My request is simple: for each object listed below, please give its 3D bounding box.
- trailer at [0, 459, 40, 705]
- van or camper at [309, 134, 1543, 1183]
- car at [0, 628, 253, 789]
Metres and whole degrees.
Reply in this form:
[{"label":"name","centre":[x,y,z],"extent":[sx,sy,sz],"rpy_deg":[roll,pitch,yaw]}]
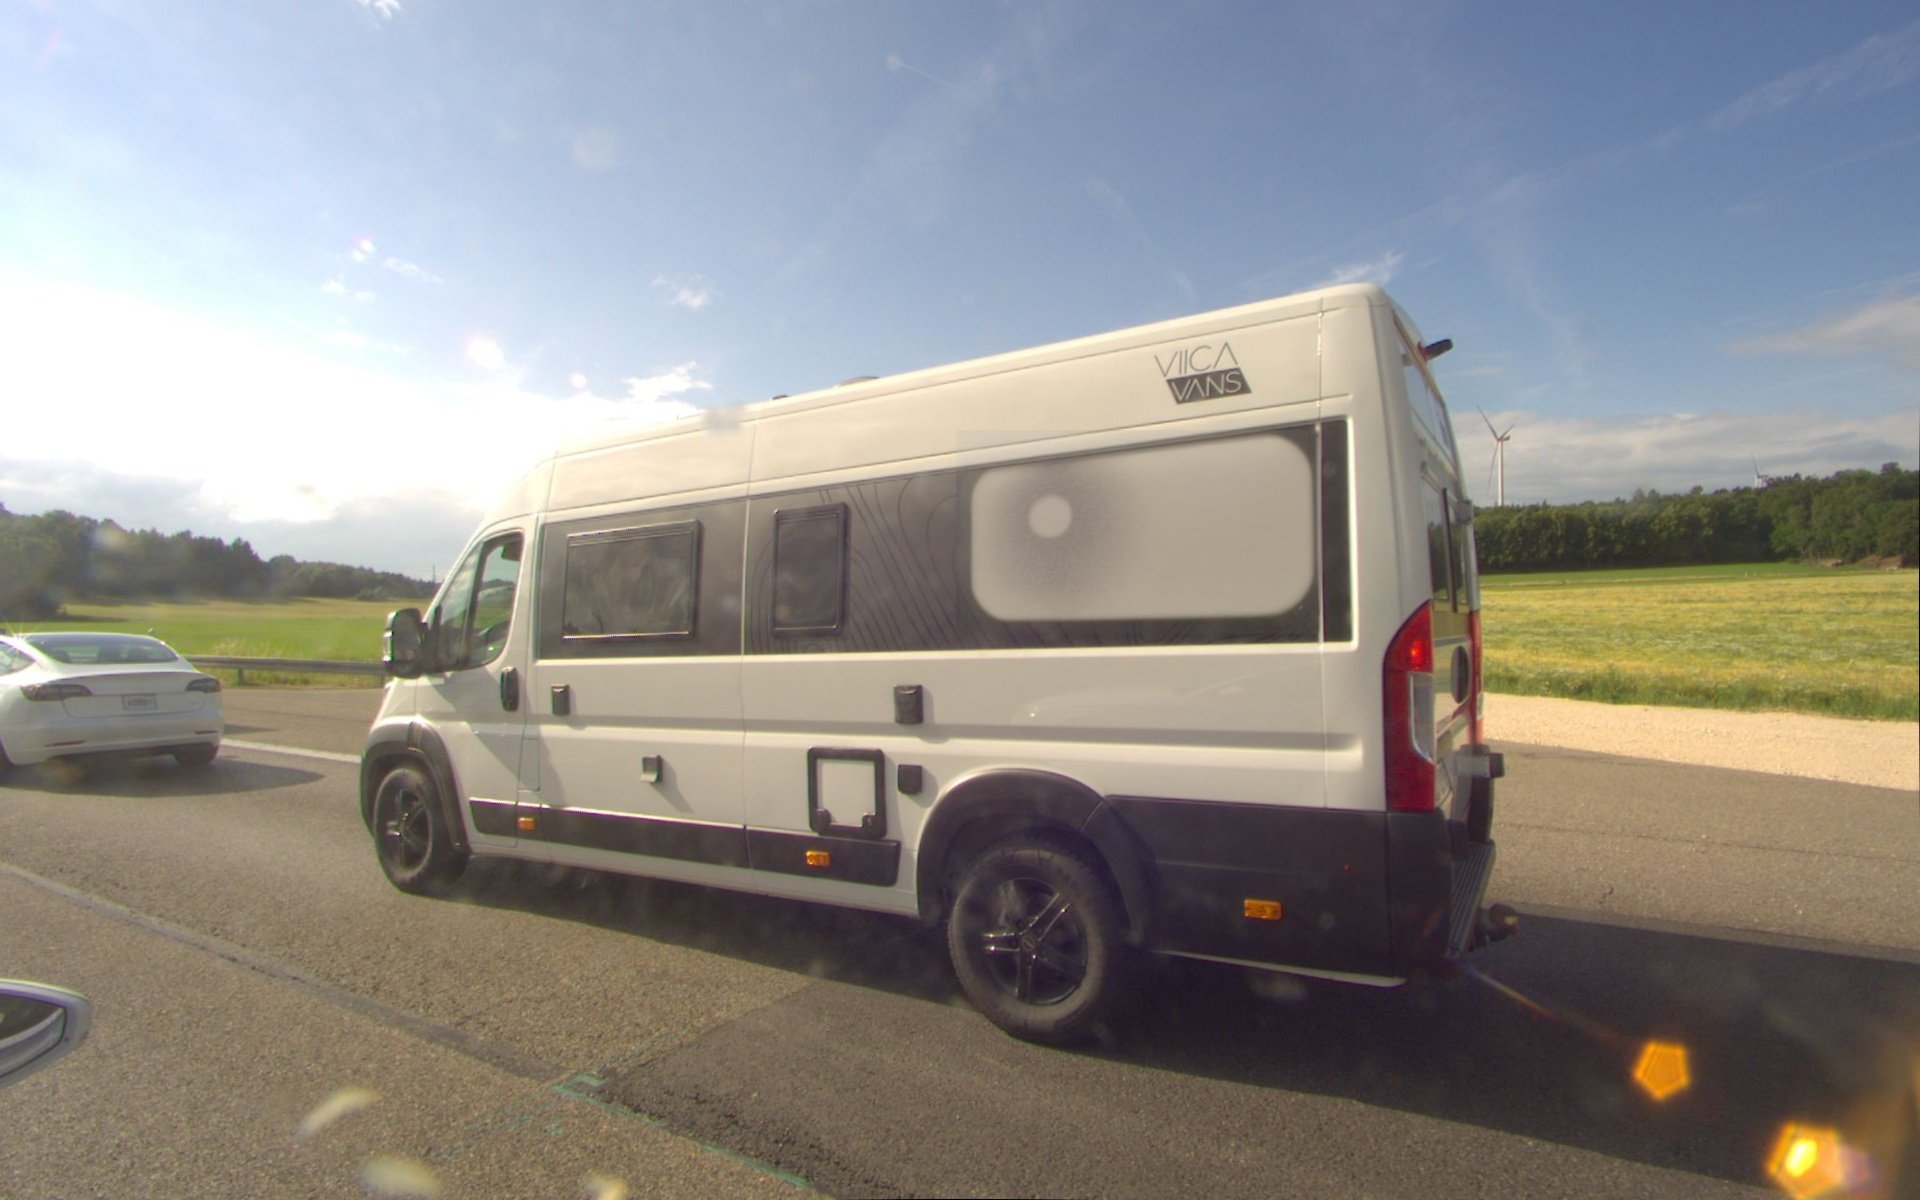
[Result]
[{"label":"trailer","centre":[-21.899,-0.122,19.178],"extent":[13.181,4.061,3.125],"rpy_deg":[-2,-2,33]},{"label":"van or camper","centre":[-0.612,0.217,5.192],"extent":[6.241,2.716,2.211],"rpy_deg":[-1,-1,32]},{"label":"car","centre":[-9.709,1.018,10.839],"extent":[4.372,1.412,1.786],"rpy_deg":[-1,-1,31]}]
